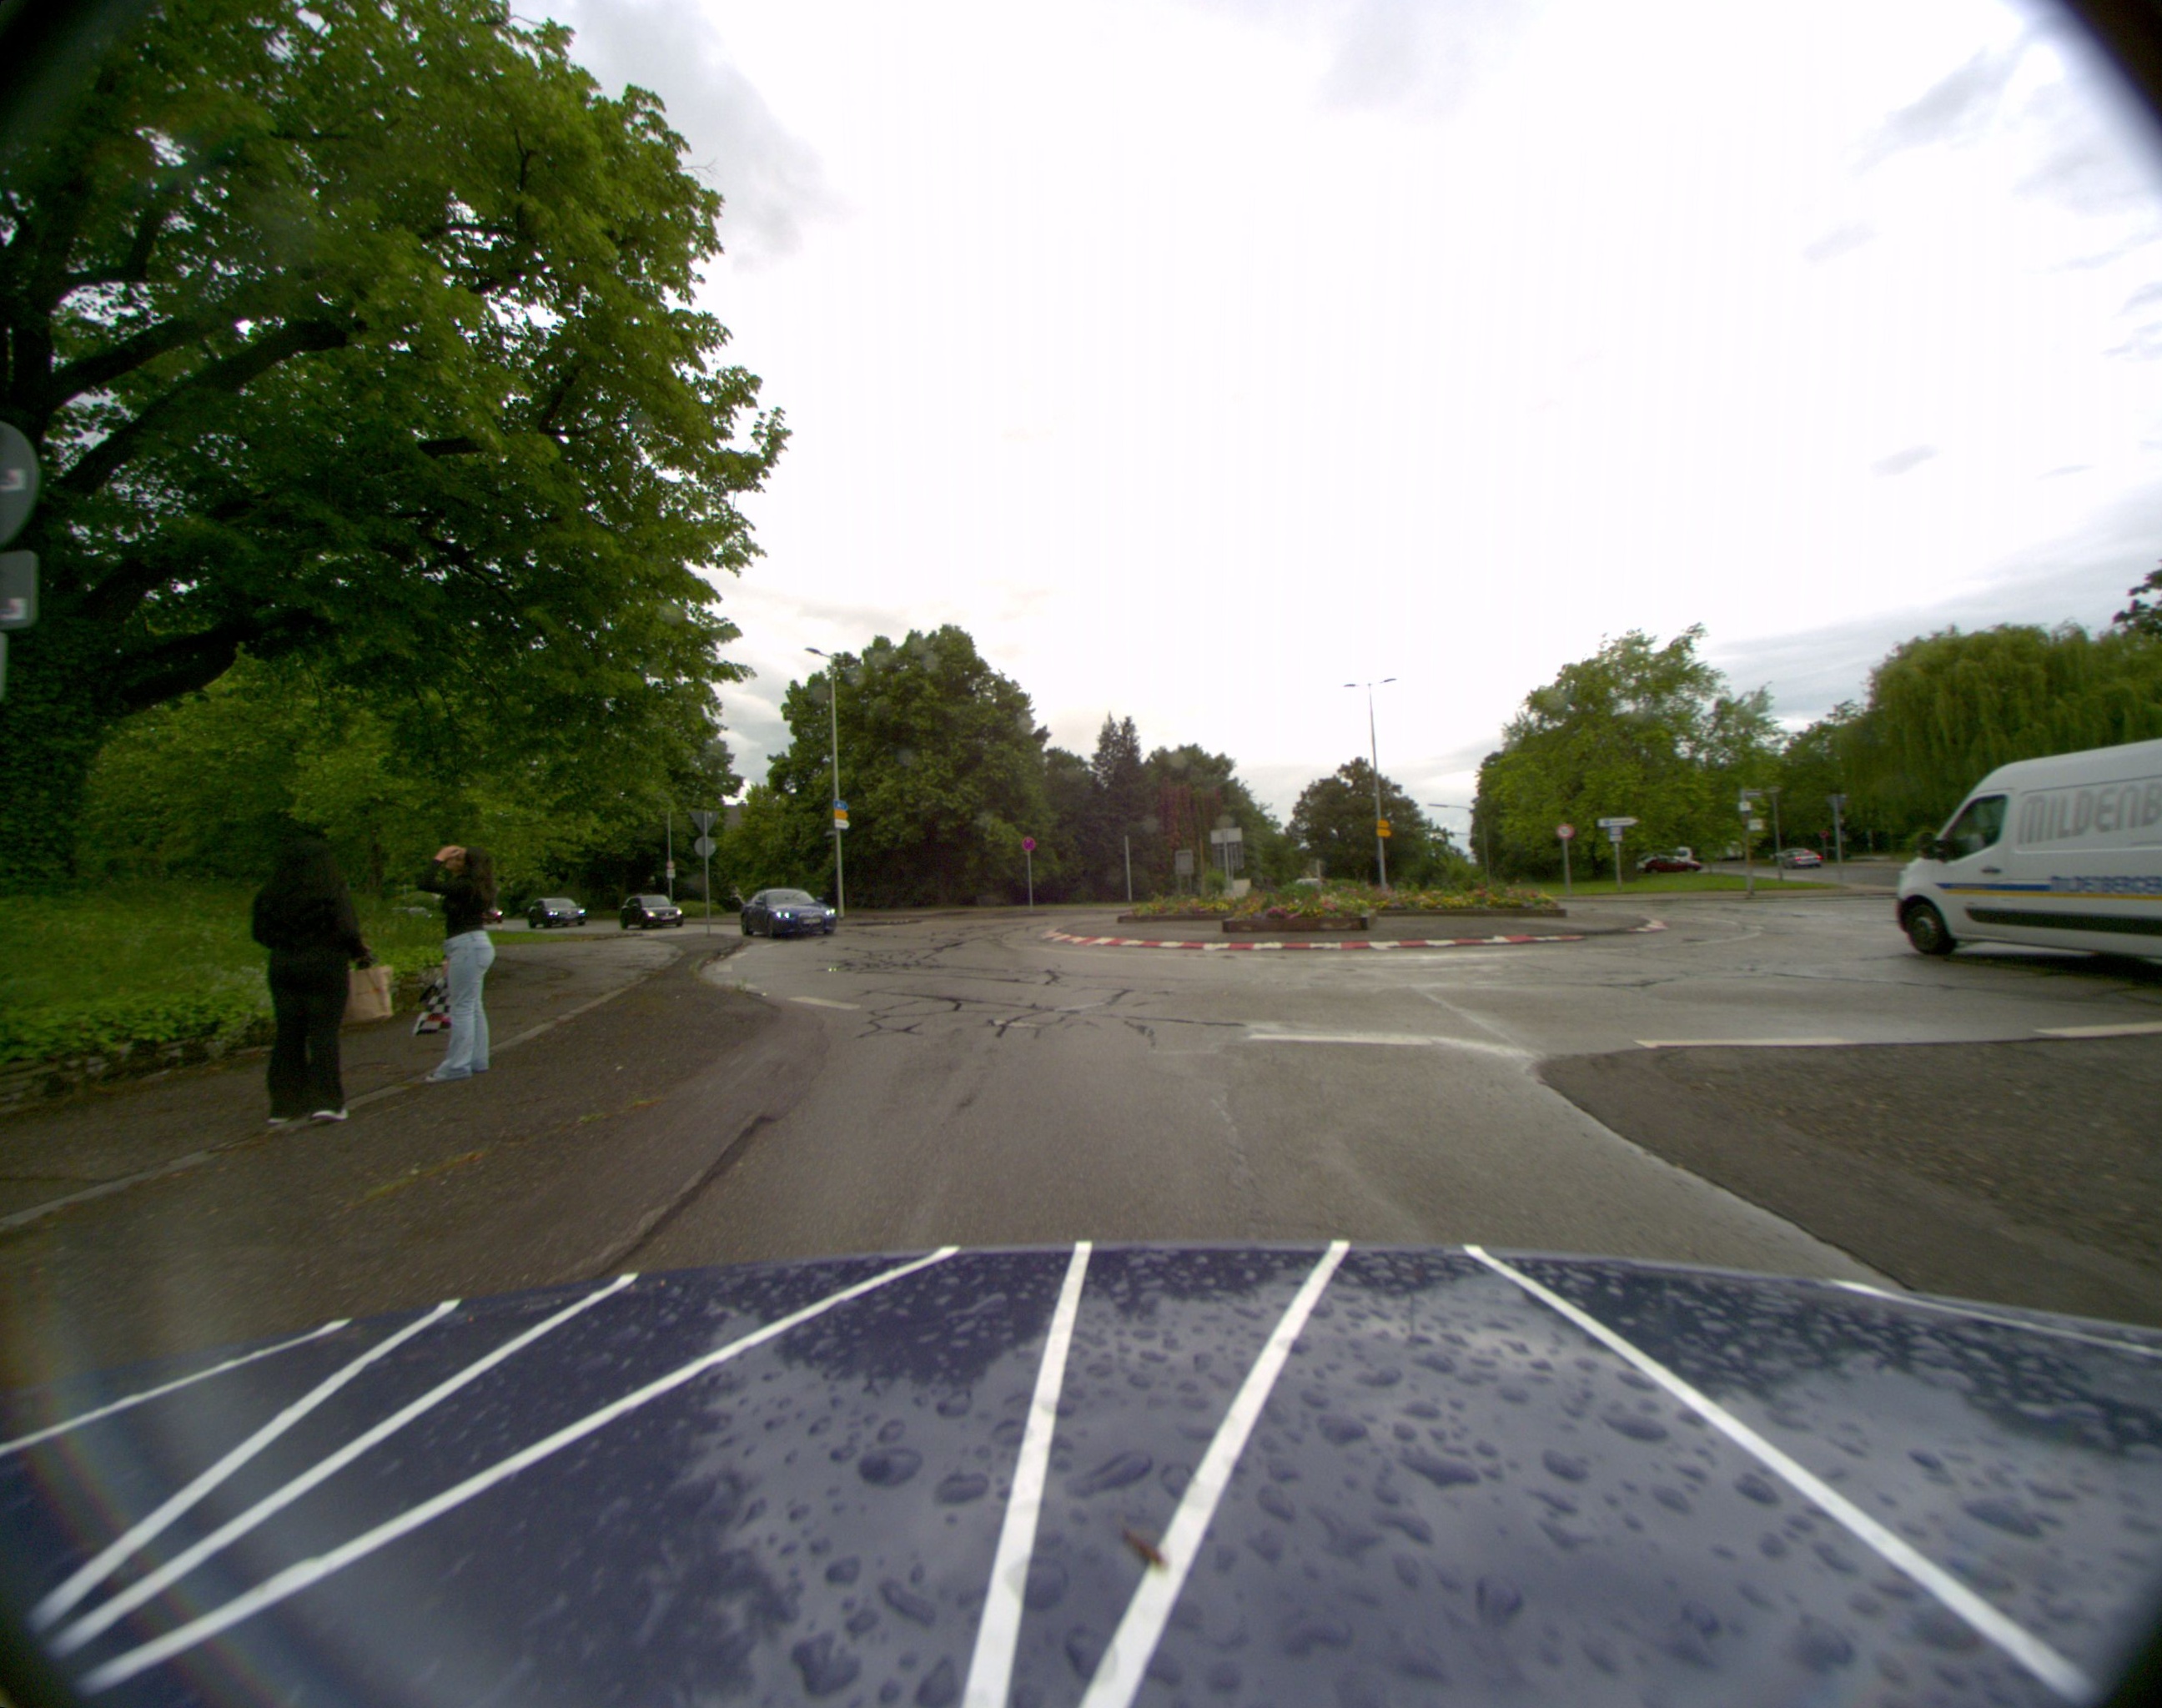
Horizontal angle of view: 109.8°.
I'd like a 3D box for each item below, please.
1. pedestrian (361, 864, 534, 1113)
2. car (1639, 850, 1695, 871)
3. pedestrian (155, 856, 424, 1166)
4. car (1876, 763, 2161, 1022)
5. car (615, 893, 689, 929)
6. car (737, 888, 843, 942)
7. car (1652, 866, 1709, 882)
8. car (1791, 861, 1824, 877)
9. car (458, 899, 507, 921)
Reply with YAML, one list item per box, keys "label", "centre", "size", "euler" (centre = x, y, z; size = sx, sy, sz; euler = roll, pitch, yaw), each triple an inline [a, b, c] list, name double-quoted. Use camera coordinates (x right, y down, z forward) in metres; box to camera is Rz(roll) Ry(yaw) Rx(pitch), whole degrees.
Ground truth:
- label: "pedestrian"
  centre: [-4.663, 0.906, 5.605]
  size: [0.723, 1.645, 0.821]
  euler: [0, 1, 40]
- label: "car"
  centre: [65.524, 0.761, 85.011]
  size: [4.903, 2.286, 1.796]
  euler: [-1, -3, 39]
- label: "pedestrian"
  centre: [-4.775, 0.882, 4.655]
  size: [0.725, 1.723, 0.819]
  euler: [-1, 1, 2]
- label: "car"
  centre: [11.398, 0.368, 7.759]
  size: [2.170, 2.400, 5.405]
  euler: [-1, -2, 18]
- label: "car"
  centre: [-19.583, 2.538, 34.604]
  size: [1.867, 1.406, 4.374]
  euler: [-1, -1, -43]
- label: "car"
  centre: [-9.145, 1.808, 23.620]
  size: [1.766, 1.428, 4.659]
  euler: [-2, -1, -38]
- label: "car"
  centre: [52.474, 1.741, 66.519]
  size: [3.846, 1.302, 1.564]
  euler: [-1, -3, 39]
- label: "car"
  centre: [61.188, 1.246, 64.029]
  size: [1.556, 1.303, 3.865]
  euler: [-1, -1, 37]
- label: "car"
  centre: [-43.420, 4.005, 55.062]
  size: [3.859, 1.369, 1.730]
  euler: [-1, 1, 35]
